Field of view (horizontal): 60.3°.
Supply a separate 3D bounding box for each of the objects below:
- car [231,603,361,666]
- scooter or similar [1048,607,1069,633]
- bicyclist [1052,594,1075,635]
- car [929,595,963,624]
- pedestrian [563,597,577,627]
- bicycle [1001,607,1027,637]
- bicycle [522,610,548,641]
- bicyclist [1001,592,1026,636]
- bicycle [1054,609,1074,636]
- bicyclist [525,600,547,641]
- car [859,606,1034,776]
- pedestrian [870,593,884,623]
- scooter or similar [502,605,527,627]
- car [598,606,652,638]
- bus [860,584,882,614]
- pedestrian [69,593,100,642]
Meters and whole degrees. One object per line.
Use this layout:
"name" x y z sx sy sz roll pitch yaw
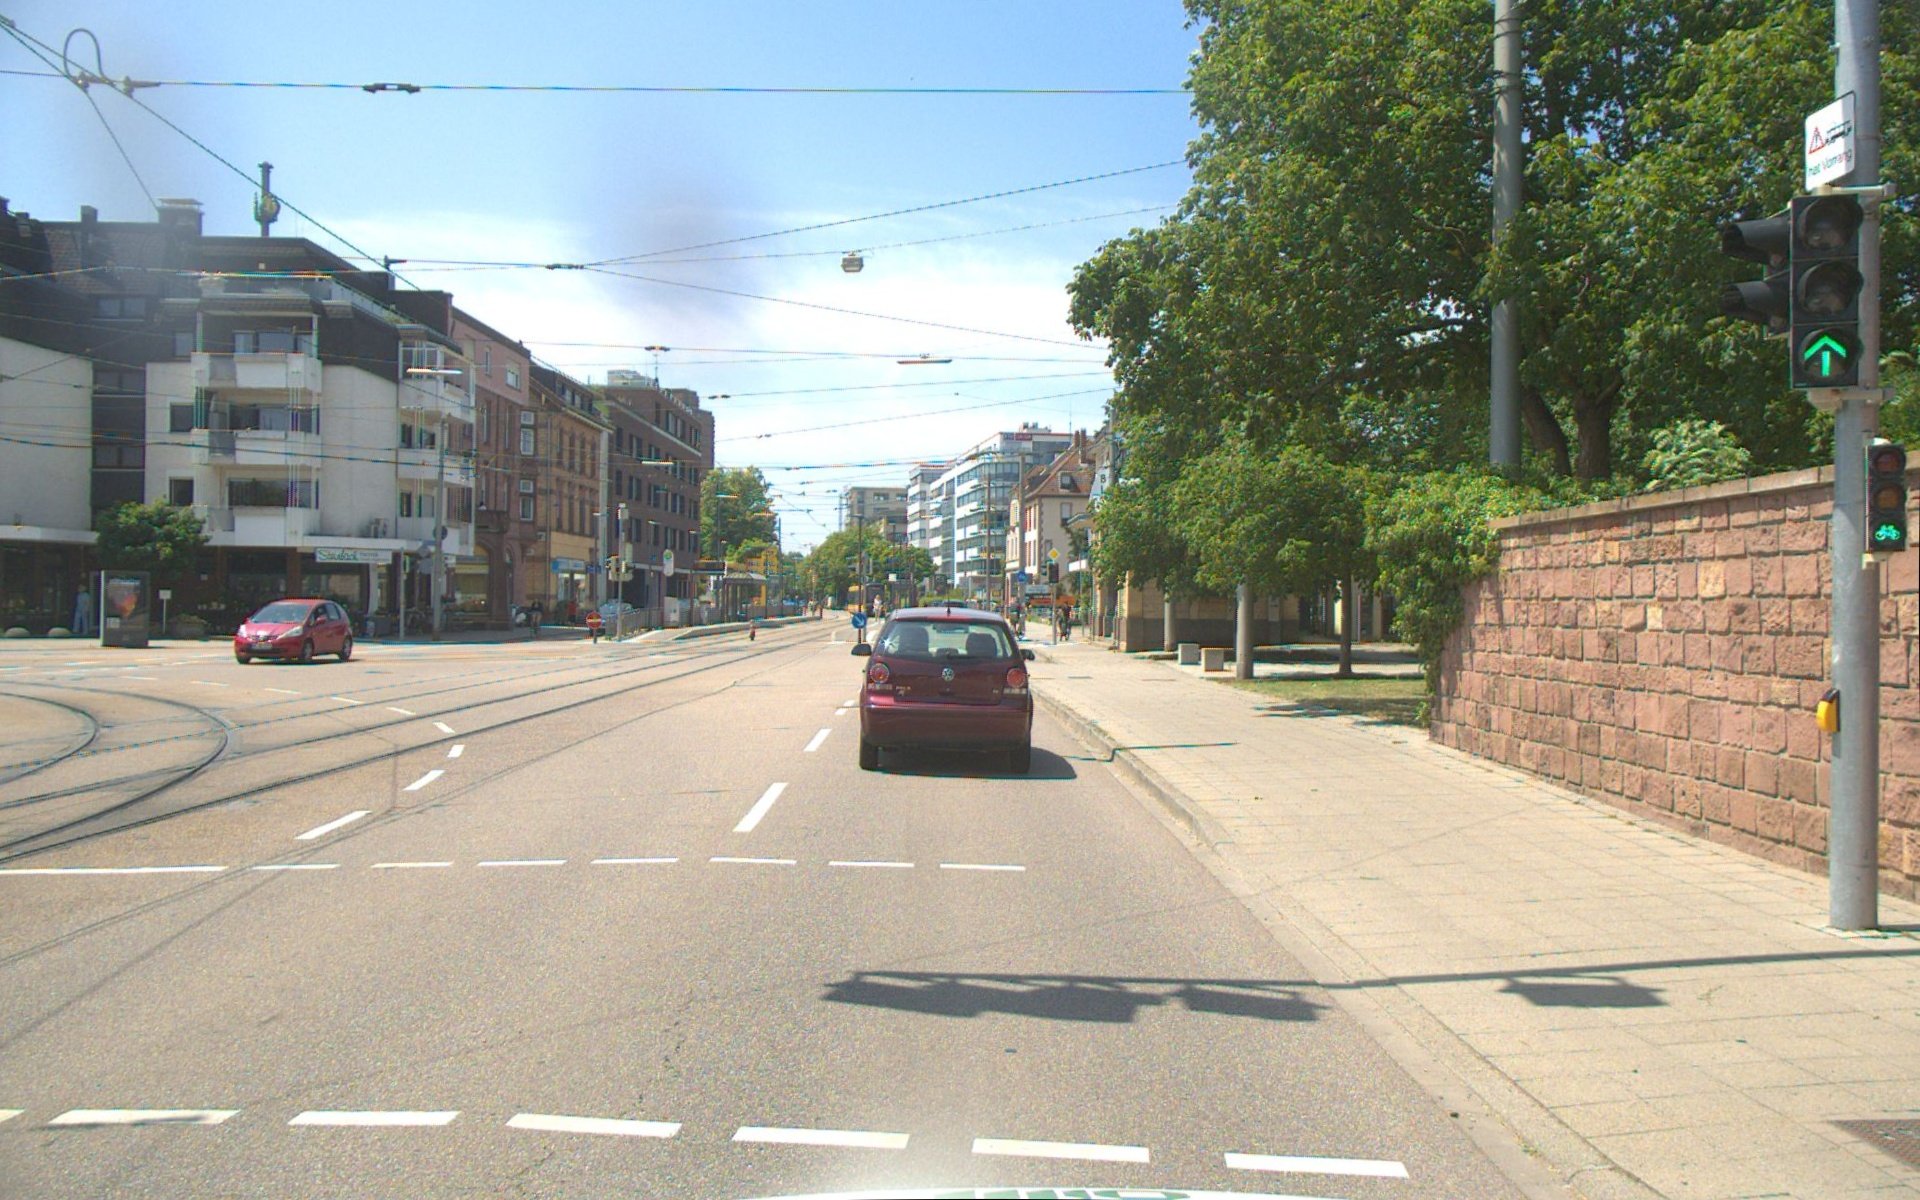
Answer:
"car" -16.429 0.820 41.124 1.590 1.510 3.830 0 0 2
"scooter or similar" 4.534 0.930 76.379 0.335 1.198 1.457 0 0 -24
"bicyclist" 4.301 0.593 69.007 0.815 1.646 0.860 -3 1 -1
"car" -0.809 0.542 95.330 1.953 1.653 4.631 0 0 -1
"pedestrian" -20.871 0.654 88.542 0.602 1.588 0.640 0 0 -1
"bicycle" 2.262 0.905 69.141 0.368 1.218 1.903 0 0 26
"bicycle" -18.708 1.125 72.846 0.663 1.327 2.104 0 0 -3
"bicyclist" 2.238 0.577 69.301 0.713 1.791 0.923 0 0 26
"bicycle" 4.340 0.923 68.985 0.655 1.020 1.863 -3 1 -1
"bicyclist" -18.684 0.880 72.963 0.717 1.793 1.134 0 0 -3
"car" -0.141 0.799 16.009 1.529 1.479 3.061 0 0 -1
"pedestrian" -4.756 0.437 94.490 0.747 1.704 1.100 0 0 0
"scooter or similar" -22.598 0.825 83.891 0.477 1.101 1.578 0 0 16
"car" -15.630 1.015 77.291 1.674 1.464 3.865 0 0 1
"bus" -9.249 -0.091 172.487 2.101 3.055 6.571 0 0 -2
"pedestrian" -31.064 0.620 58.686 0.685 1.726 0.807 0 0 0
